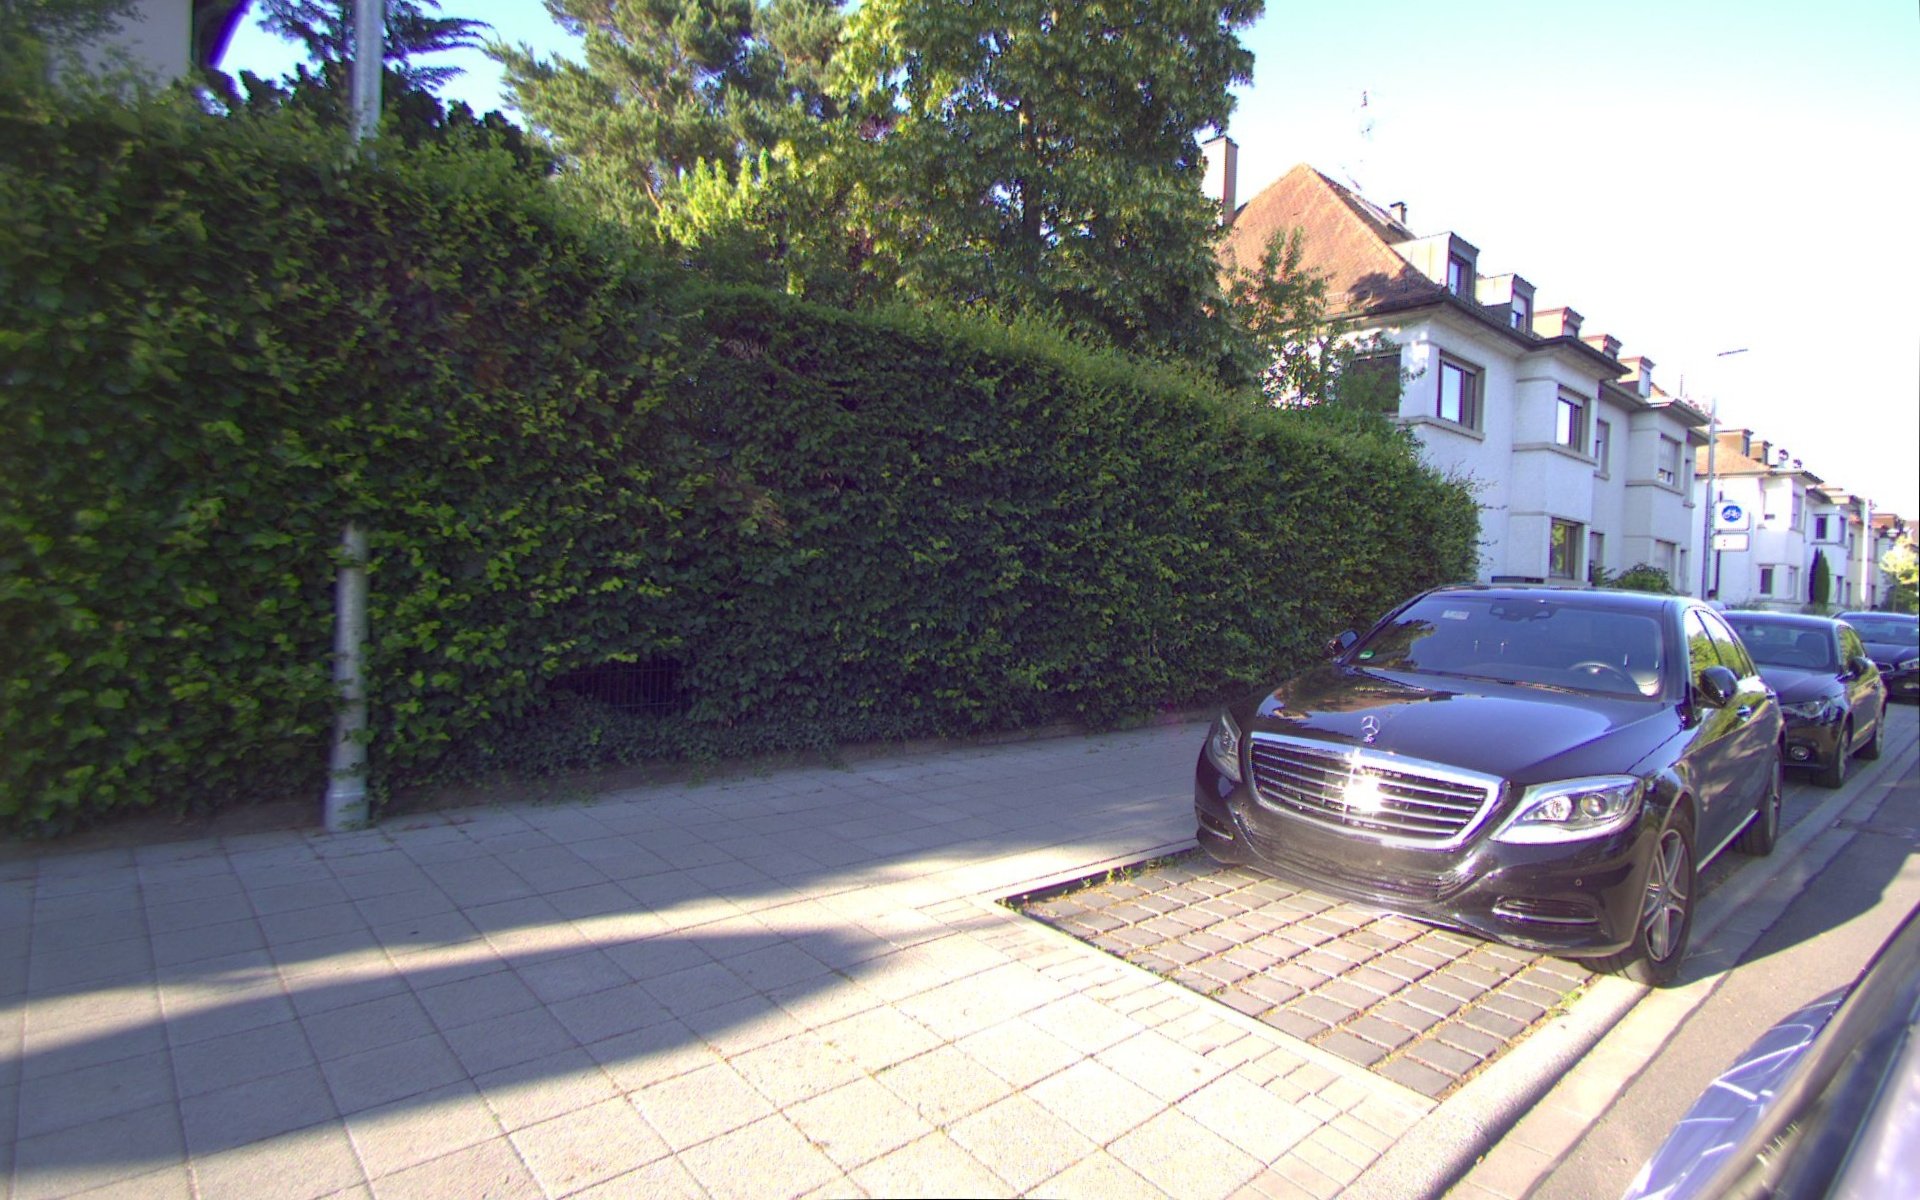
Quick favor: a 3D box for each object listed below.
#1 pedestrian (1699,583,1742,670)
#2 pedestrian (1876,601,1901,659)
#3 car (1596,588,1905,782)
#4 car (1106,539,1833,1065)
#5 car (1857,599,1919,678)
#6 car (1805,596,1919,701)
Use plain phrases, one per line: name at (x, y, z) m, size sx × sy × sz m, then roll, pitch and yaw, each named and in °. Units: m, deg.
pedestrian at (16.720, 0.557, 22.245) m, size 0.809 × 1.869 × 0.587 m, roll 0°, pitch 0°, yaw -41°
pedestrian at (29.651, 0.935, 32.320) m, size 0.579 × 1.821 × 0.530 m, roll 1°, pitch -1°, yaw -44°
car at (7.764, 0.677, 9.811) m, size 3.932 × 1.496 × 1.781 m, roll 1°, pitch -1°, yaw -43°
car at (3.084, 0.577, 5.434) m, size 4.835 × 1.517 × 2.006 m, roll 1°, pitch 3°, yaw -45°
car at (20.015, 0.784, 20.988) m, size 3.410 × 1.554 × 1.679 m, roll 1°, pitch -1°, yaw -41°
car at (15.902, 0.776, 17.285) m, size 4.007 × 1.616 × 1.793 m, roll 1°, pitch -1°, yaw -43°
